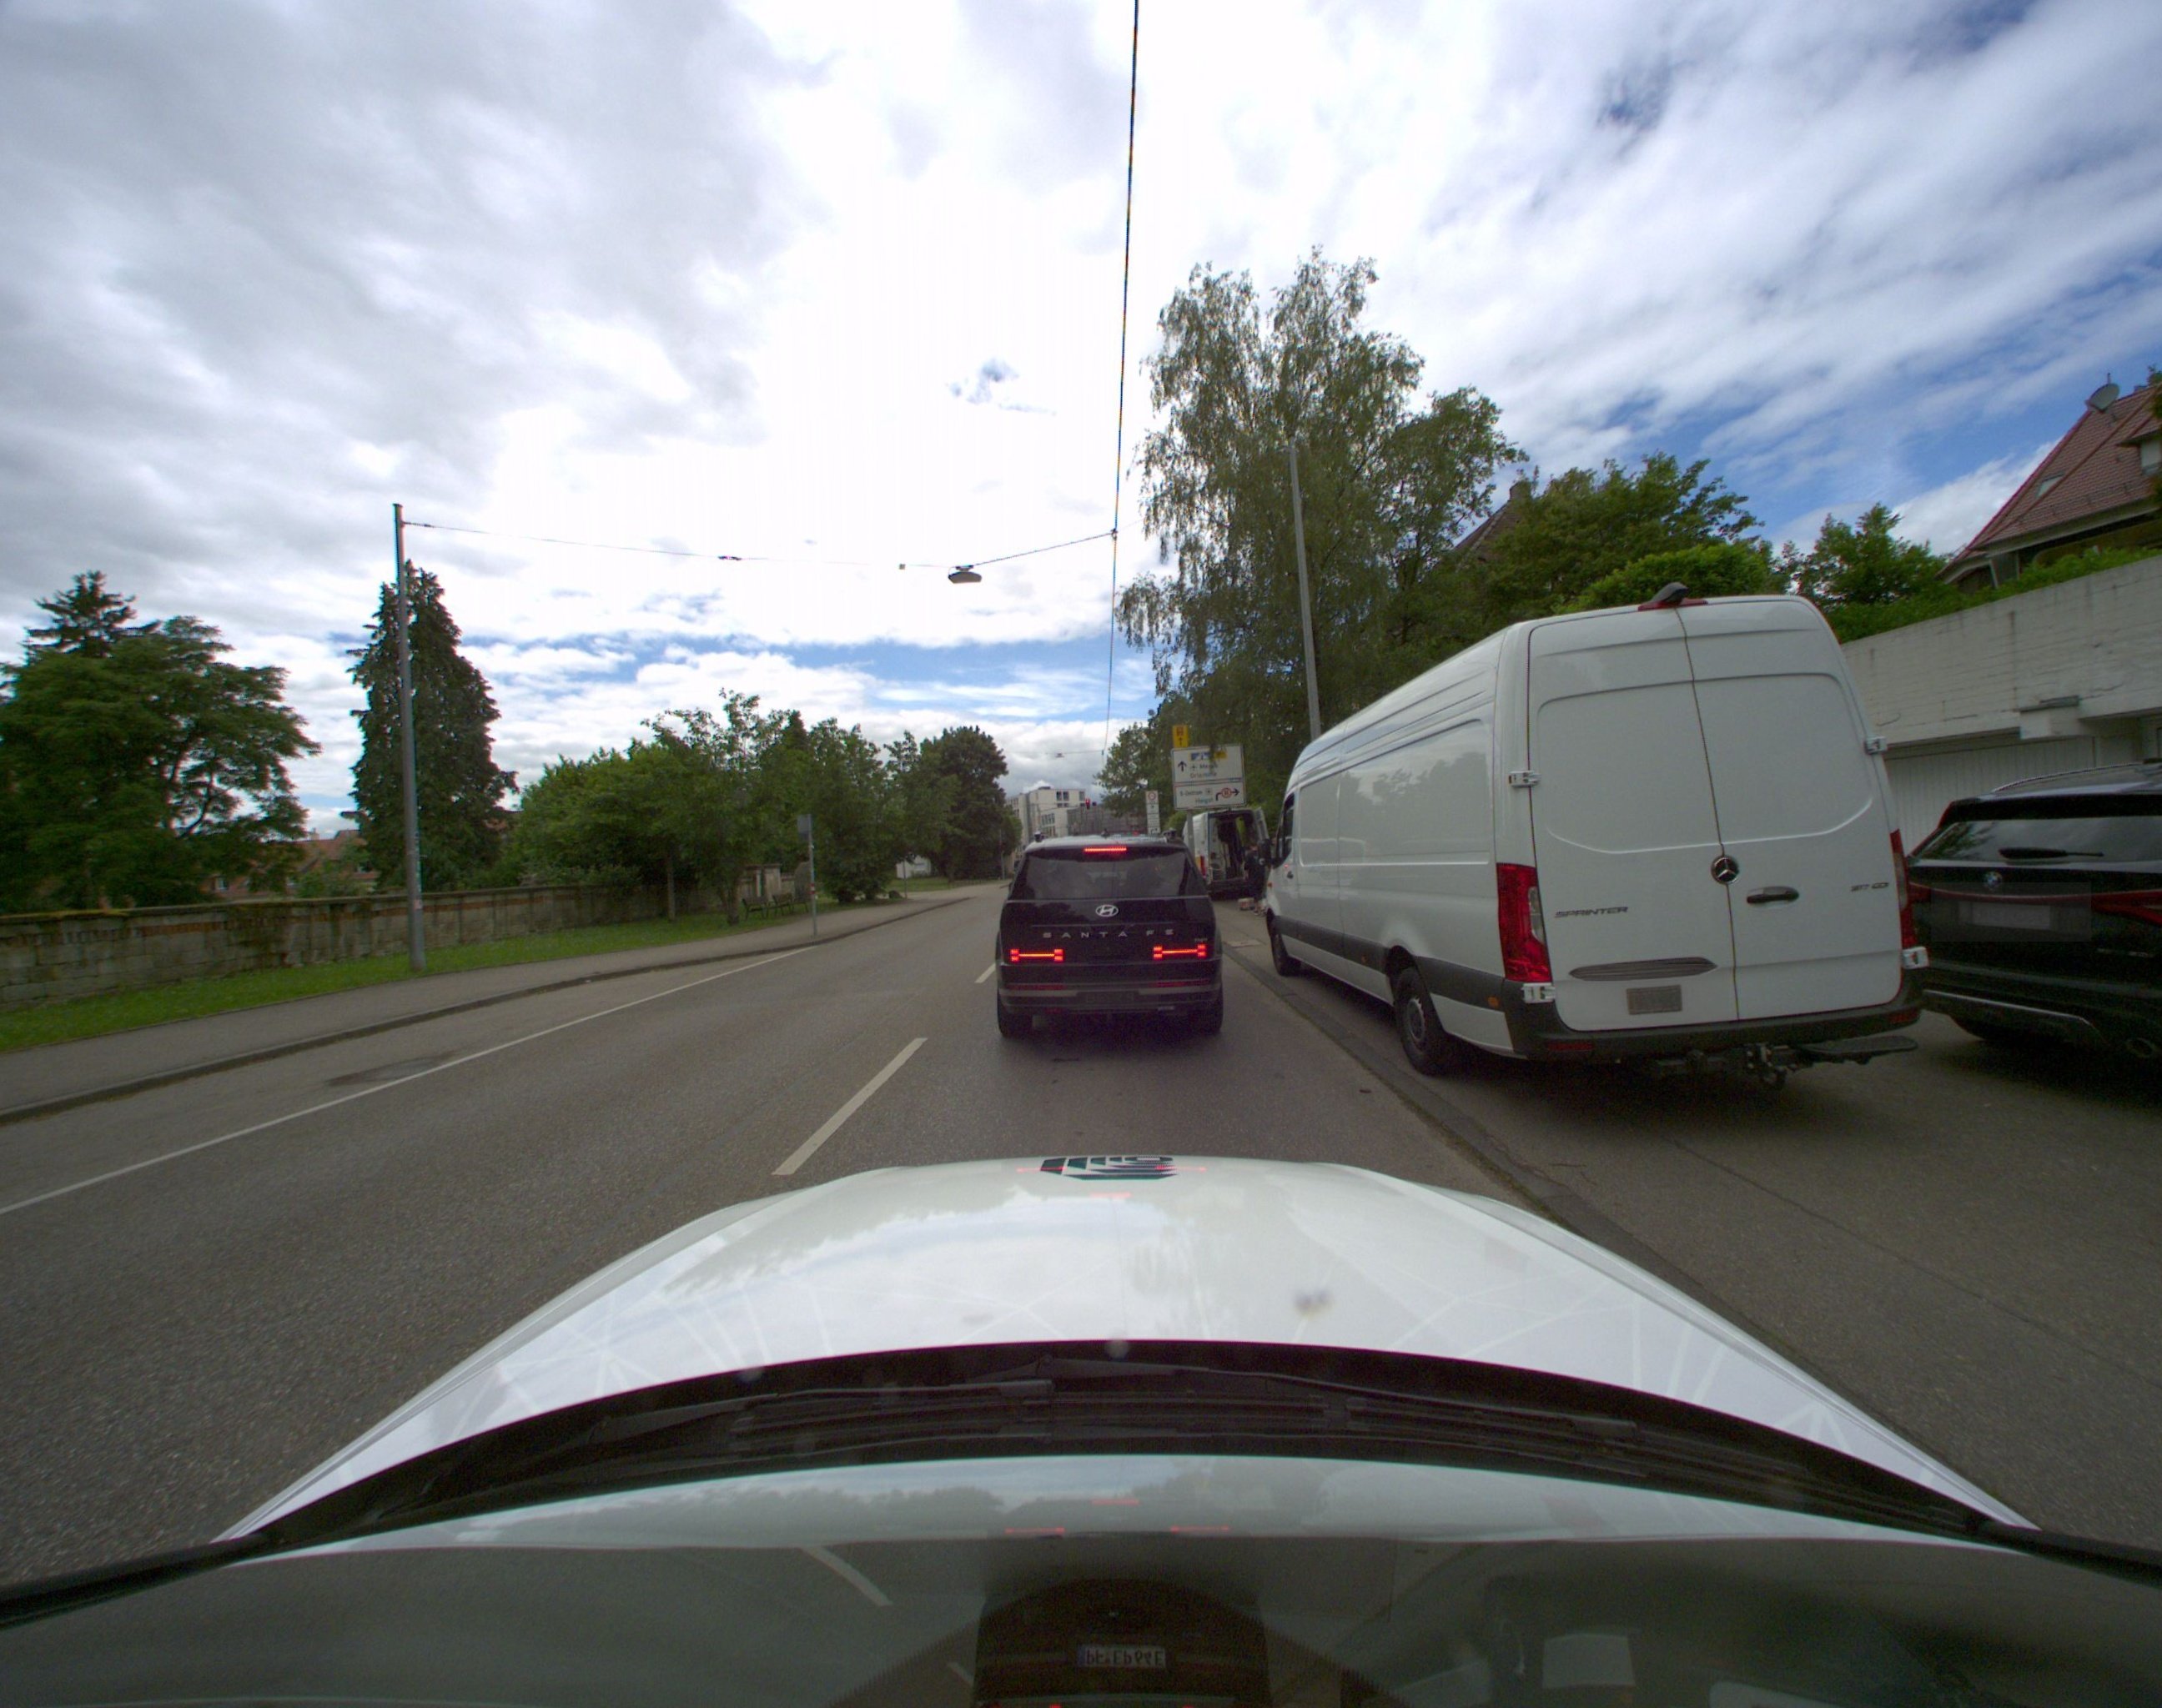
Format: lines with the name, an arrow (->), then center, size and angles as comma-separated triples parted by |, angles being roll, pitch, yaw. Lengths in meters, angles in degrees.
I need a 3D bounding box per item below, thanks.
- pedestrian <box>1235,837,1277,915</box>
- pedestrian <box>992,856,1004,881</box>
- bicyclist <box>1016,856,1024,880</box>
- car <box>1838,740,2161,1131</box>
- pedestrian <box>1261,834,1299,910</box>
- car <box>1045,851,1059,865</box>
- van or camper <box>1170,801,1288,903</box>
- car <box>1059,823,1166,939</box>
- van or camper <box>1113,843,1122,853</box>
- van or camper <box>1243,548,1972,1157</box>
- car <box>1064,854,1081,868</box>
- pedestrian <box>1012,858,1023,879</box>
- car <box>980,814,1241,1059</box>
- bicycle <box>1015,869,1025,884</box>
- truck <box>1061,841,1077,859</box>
pedestrian -> 3.846, 0.479, 17.921 | 0.732, 1.643, 0.803 | -4, -1, 8
pedestrian -> -6.656, 1.139, 65.383 | 0.826, 2.014, 1.048 | 0, -1, 4
bicyclist -> -4.168, 0.960, 55.813 | 0.486, 1.684, 0.588 | 0, -1, 1
car -> 6.801, 0.213, 4.037 | 4.365, 1.675, 1.696 | -4, -1, 2
pedestrian -> 4.595, 0.406, 18.838 | 0.746, 1.721, 0.793 | 0, -1, 7
car -> -5.182, 0.696, 144.513 | 2.328, 2.315, 4.950 | -3, 0, -4
van or camper -> 4.353, 0.013, 25.299 | 2.332, 2.494, 6.603 | -6, -1, 1
car -> 0.627, 0.494, 16.442 | 1.890, 2.042, 3.995 | 0, -1, 2
van or camper -> 7.724, -1.234, 172.570 | 1.791, 1.999, 3.821 | 0, -1, -2
van or camper -> 3.074, 0.017, 7.041 | 1.984, 2.625, 6.546 | -6, -1, 2
car -> -0.965, 0.804, 94.727 | 1.750, 1.403, 4.416 | -6, -1, 2
pedestrian -> -5.329, 1.213, 68.538 | 0.764, 1.748, 0.904 | -2, -1, 0
car -> 0.273, 0.618, 7.936 | 1.890, 1.776, 3.995 | 0, -1, 2
bicycle -> -4.168, 1.526, 55.791 | 0.493, 0.964, 1.749 | 0, -1, 2
truck -> -2.821, -0.906, 187.494 | 3.102, 3.859, 9.606 | -3, 0, -4
